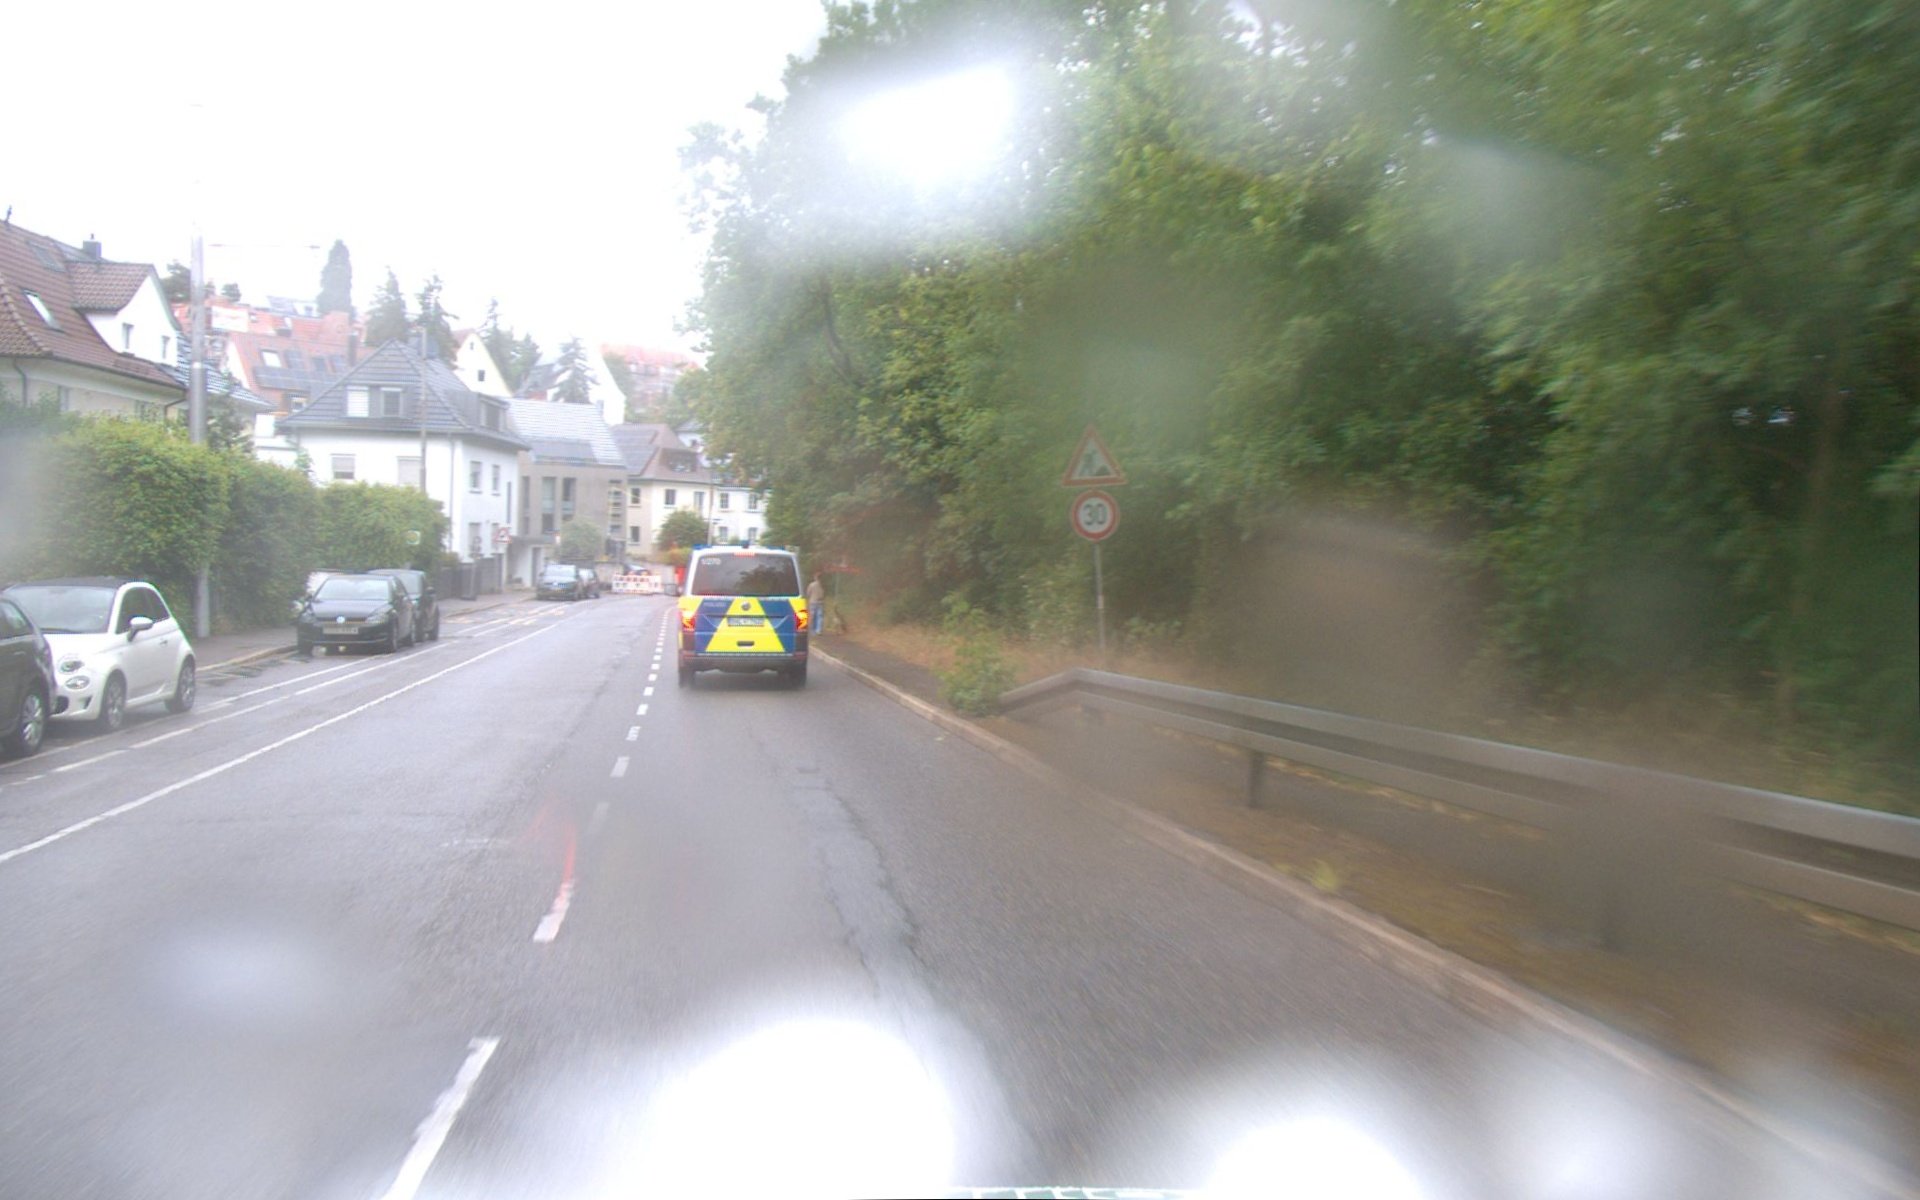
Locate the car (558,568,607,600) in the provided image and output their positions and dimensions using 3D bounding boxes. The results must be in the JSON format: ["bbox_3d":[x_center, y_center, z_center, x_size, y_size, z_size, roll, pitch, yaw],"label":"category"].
[{"bbox_3d":[-19.003,-0.822,83.403,1.584,1.465,4.229,2,1,-2],"label":"car"}]

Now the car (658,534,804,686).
[{"bbox_3d":[-3.360,0.156,24.906,1.955,2.049,4.396,1,-1,-6],"label":"car"}]

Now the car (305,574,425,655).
[{"bbox_3d":[-11.616,0.226,32.527,1.658,1.443,4.203,0,1,-12],"label":"car"}]

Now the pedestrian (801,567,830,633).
[{"bbox_3d":[-3.651,-0.001,41.813,0.630,1.639,0.668,1,-1,-11],"label":"pedestrian"}]

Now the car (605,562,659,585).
[{"bbox_3d":[-23.584,-1.928,118.958,3.931,1.468,1.828,4,2,43],"label":"car"}]

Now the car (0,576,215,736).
[{"bbox_3d":[-9.364,0.520,17.708,1.668,1.493,3.701,2,1,-11],"label":"car"}]

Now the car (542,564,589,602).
[{"bbox_3d":[-18.577,-0.824,78.019,1.721,1.687,4.398,0,1,-8],"label":"car"}]

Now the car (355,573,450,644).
[{"bbox_3d":[-12.310,0.151,36.643,1.491,1.479,3.024,0,1,-9],"label":"car"}]

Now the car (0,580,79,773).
[{"bbox_3d":[-8.599,0.624,13.003,1.668,1.551,4.411,2,1,-11],"label":"car"}]
